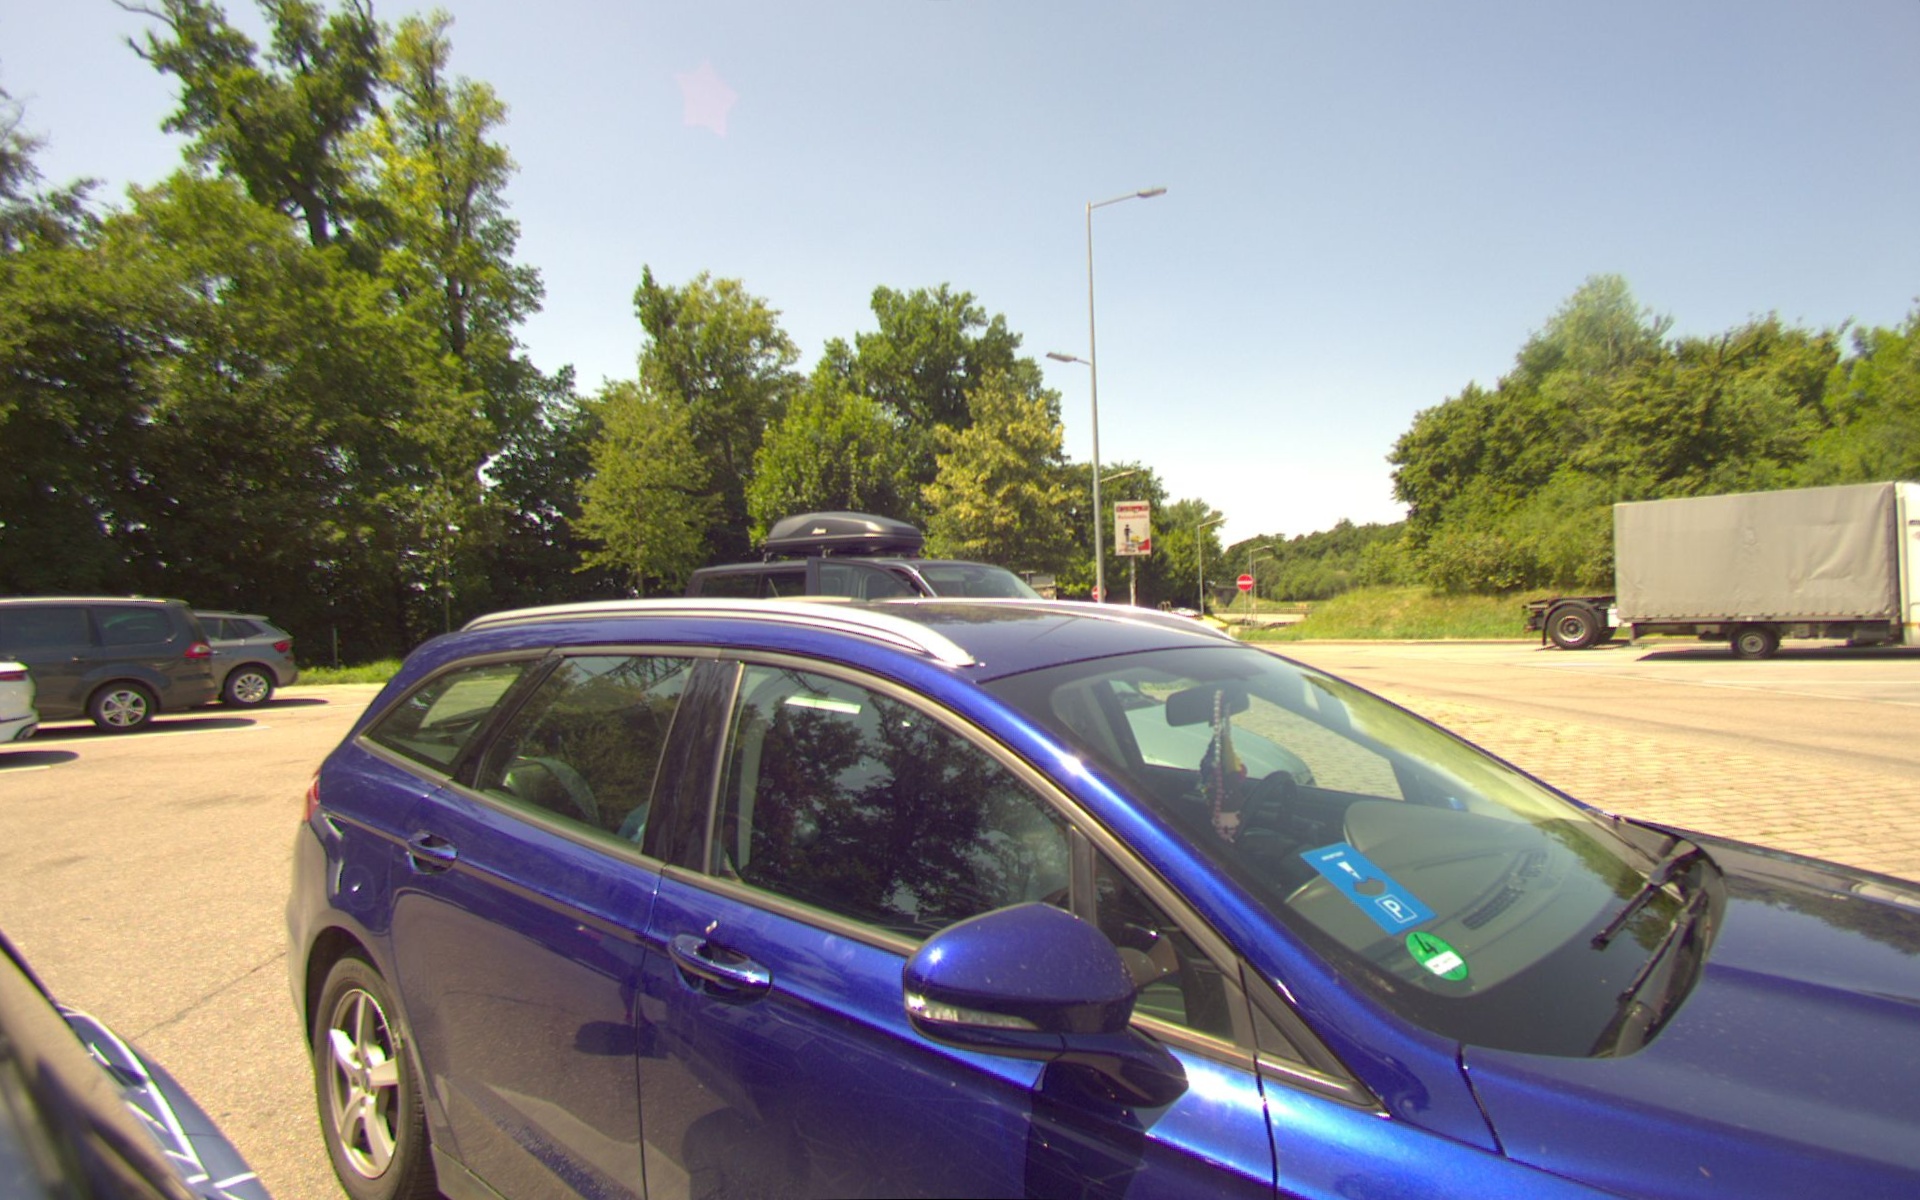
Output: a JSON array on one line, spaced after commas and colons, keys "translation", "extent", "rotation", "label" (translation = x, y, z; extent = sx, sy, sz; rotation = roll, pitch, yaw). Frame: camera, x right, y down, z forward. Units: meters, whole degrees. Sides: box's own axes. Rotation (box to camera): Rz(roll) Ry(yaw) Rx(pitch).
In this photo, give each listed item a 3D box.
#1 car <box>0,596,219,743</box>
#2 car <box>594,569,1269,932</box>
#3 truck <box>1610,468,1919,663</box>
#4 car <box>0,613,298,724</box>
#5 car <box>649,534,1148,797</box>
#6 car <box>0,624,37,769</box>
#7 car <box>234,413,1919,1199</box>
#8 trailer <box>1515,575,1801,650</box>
[{"translation": [-11.715, 0.830, 12.576], "extent": [3.830, 1.703, 1.883], "rotation": [0, -2, -45], "label": "car"}, {"translation": [-0.366, 0.646, 5.797], "extent": [3.739, 1.424, 1.587], "rotation": [-2, -1, 40], "label": "car"}, {"translation": [16.708, -0.618, 18.839], "extent": [7.308, 3.258, 2.294], "rotation": [-5, -2, 43], "label": "truck"}, {"translation": [-12.612, 0.967, 15.616], "extent": [3.753, 1.488, 1.743], "rotation": [0, -1, -45], "label": "car"}, {"translation": [-0.734, 0.530, 9.408], "extent": [4.426, 1.875, 2.022], "rotation": [-2, -1, 40], "label": "car"}, {"translation": [-10.961, 0.938, 9.188], "extent": [3.753, 1.377, 1.804], "rotation": [0, -1, -45], "label": "car"}, {"translation": [0.239, 0.647, 2.076], "extent": [4.426, 1.455, 1.763], "rotation": [-2, -1, 40], "label": "car"}, {"translation": [16.327, 0.347, 23.912], "extent": [5.393, 1.608, 1.576], "rotation": [-2, -1, 41], "label": "trailer"}]
